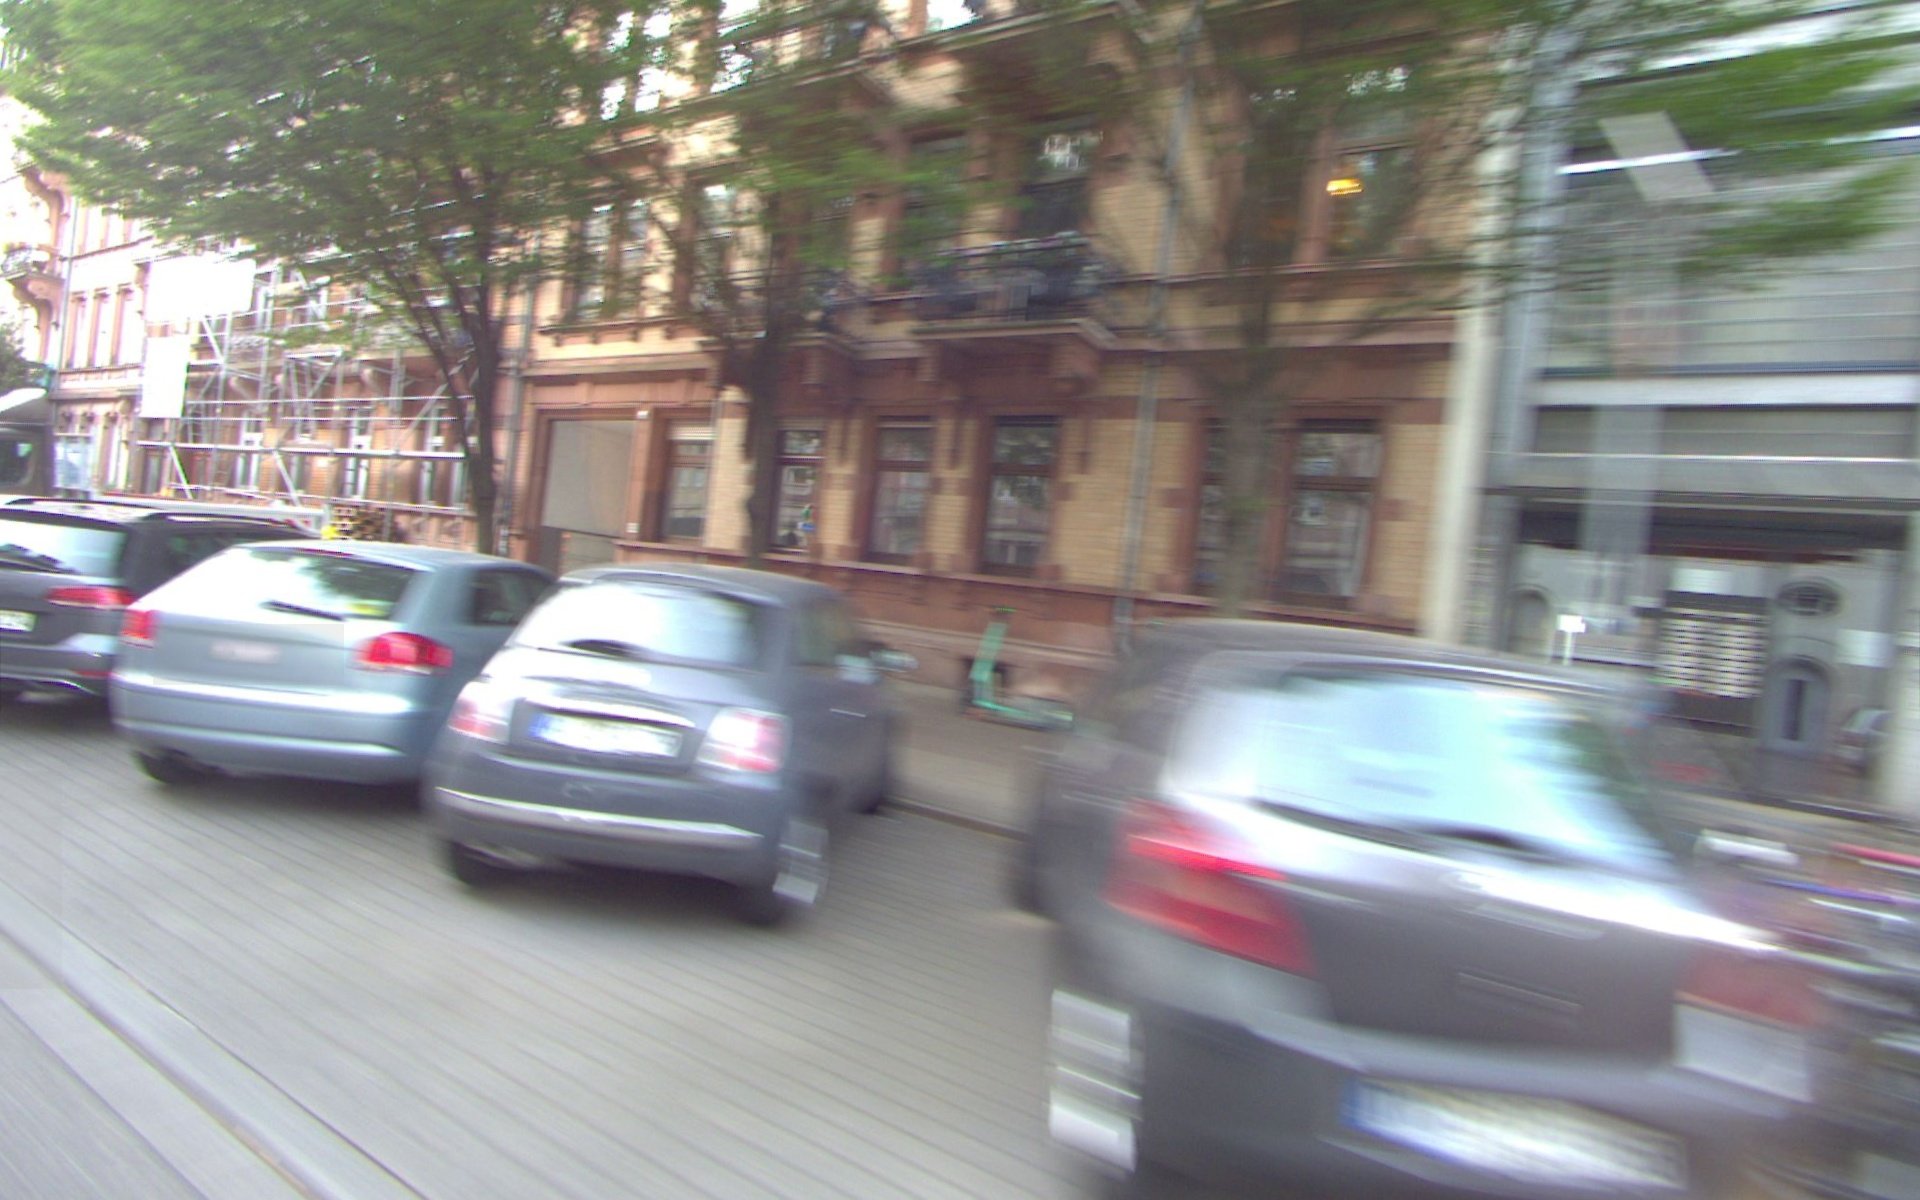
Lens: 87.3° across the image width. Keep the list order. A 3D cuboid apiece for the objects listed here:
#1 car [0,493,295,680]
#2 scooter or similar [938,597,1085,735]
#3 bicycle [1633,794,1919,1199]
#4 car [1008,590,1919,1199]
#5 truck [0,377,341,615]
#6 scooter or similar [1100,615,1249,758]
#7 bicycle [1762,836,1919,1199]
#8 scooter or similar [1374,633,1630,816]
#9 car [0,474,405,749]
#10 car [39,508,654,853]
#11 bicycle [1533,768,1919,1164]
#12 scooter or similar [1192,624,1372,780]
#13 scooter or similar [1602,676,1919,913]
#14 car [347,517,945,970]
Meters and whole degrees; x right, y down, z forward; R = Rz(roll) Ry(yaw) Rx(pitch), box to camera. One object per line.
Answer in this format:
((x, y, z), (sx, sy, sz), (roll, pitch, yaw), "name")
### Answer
((-8.356, -0.163, 9.491), (1.581, 1.482, 3.561), (7, -1, 2), "car")
((0.535, 0.681, 10.653), (1.328, 1.257, 0.512), (7, 0, 31), "scooter or similar")
((3.152, 1.278, 2.974), (1.822, 1.121, 0.559), (6, 0, 3), "bicycle")
((1.164, 0.824, 3.746), (1.741, 1.493, 3.405), (7, 1, 1), "car")
((-13.776, -1.560, 15.859), (2.229, 3.010, 6.327), (4, -3, 33), "truck")
((2.155, 0.842, 10.296), (0.366, 1.234, 1.605), (3, 3, -33), "scooter or similar")
((3.023, 1.256, 2.234), (1.822, 1.121, 0.694), (6, 0, 3), "bicycle")
((4.473, 0.977, 8.419), (1.752, 1.235, 0.410), (6, 4, 44), "scooter or similar")
((-6.092, 0.027, 7.827), (1.609, 1.548, 3.890), (7, -1, -7), "car")
((-3.510, 0.365, 6.723), (1.730, 1.455, 3.834), (7, 1, -2), "car")
((3.166, 1.294, 3.575), (1.822, 1.121, 0.559), (6, 0, 3), "bicycle")
((3.026, 0.925, 9.633), (0.366, 1.234, 1.688), (3, 3, -33), "scooter or similar")
((5.484, 1.242, 6.820), (1.752, 1.234, 0.465), (6, 4, 44), "scooter or similar")
((-1.284, 0.545, 5.794), (1.729, 1.550, 3.837), (6, 1, 7), "car")
